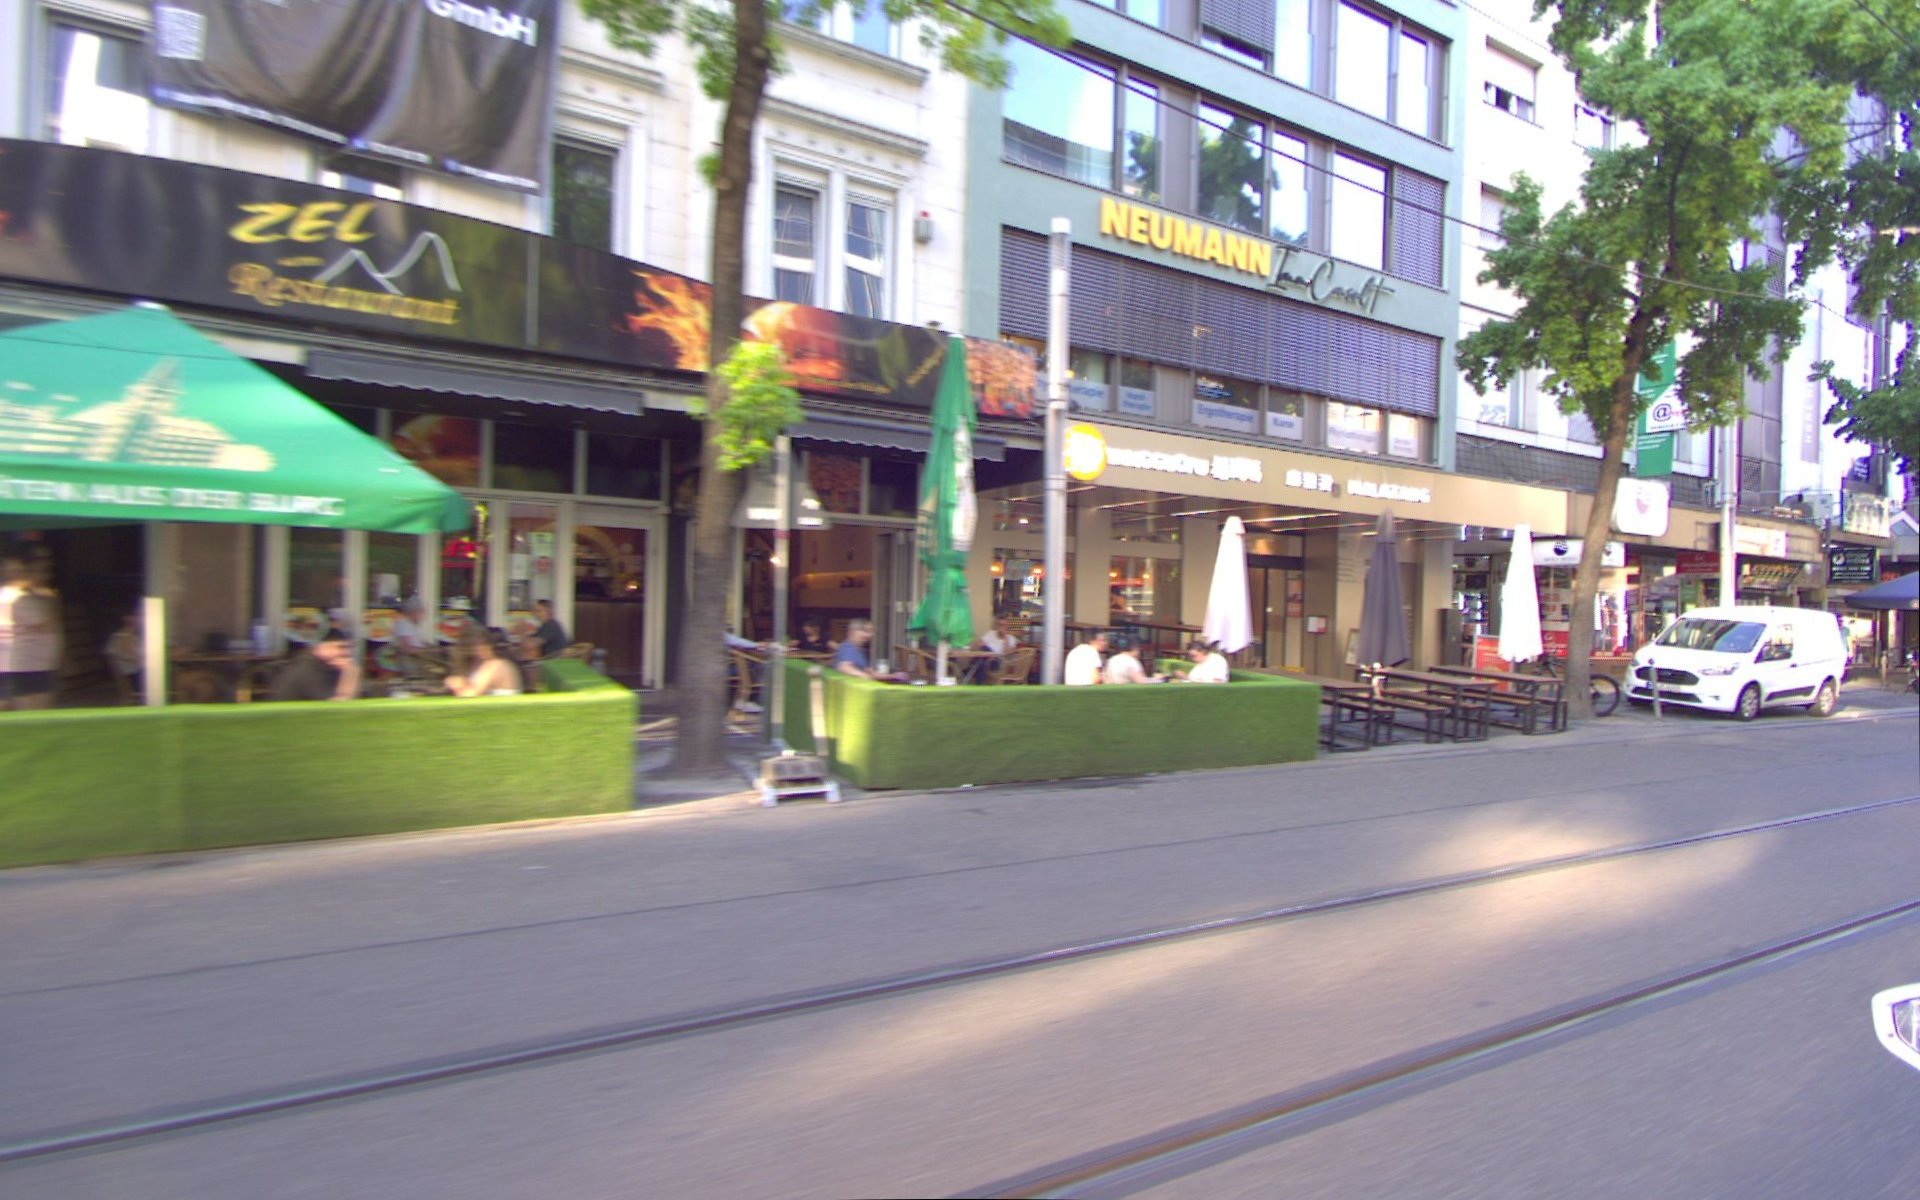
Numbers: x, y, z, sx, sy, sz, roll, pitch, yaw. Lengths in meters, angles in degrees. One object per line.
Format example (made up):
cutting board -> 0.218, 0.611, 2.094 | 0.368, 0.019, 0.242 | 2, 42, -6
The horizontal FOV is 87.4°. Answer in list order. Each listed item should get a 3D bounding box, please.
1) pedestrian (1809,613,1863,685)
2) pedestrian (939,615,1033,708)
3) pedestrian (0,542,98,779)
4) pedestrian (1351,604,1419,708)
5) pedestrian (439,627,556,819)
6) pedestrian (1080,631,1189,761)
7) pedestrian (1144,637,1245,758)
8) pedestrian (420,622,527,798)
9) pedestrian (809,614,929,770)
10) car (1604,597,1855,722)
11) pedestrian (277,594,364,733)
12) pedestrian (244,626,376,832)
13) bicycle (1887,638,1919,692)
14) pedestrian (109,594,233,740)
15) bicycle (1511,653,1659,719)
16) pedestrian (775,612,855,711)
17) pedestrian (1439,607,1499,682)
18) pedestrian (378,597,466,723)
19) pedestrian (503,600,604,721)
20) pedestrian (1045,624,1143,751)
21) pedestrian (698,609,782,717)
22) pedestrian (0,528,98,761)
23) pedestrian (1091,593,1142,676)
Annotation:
pedestrian -> 21.793, 1.206, 24.978 | 0.993, 1.708, 0.663 | 1, 2, -30
pedestrian -> 0.358, 0.856, 14.241 | 1.052, 1.204, 0.749 | 2, 3, -30
pedestrian -> -6.928, 0.424, 7.445 | 0.689, 1.693, 0.616 | 1, 1, -30
pedestrian -> 6.814, 0.882, 16.133 | 0.692, 1.595, 0.644 | 1, 2, -30
pedestrian -> -3.344, 0.851, 7.245 | 0.689, 1.262, 0.616 | 1, 3, -30
pedestrian -> 1.840, 0.986, 10.602 | 0.862, 1.261, 0.653 | 1, 3, -30
pedestrian -> 2.567, 1.043, 11.010 | 0.788, 1.209, 0.653 | 1, 3, -30
pedestrian -> -3.812, 0.830, 7.858 | 0.689, 1.262, 0.616 | 1, 3, -30
pedestrian -> -0.882, 0.852, 9.642 | 0.862, 1.361, 0.750 | 1, 3, -30
car -> 13.553, 0.993, 17.645 | 4.498, 1.890, 1.787 | 2, 2, -29
pedestrian -> -6.498, 0.629, 10.232 | 0.689, 1.327, 0.616 | 1, 3, -30
pedestrian -> -4.364, 0.833, 6.782 | 0.689, 1.262, 0.616 | 1, 3, -30
bicycle -> 22.606, 1.537, 23.926 | 0.690, 1.136, 2.074 | 4, 3, 42
pedestrian -> -7.252, 0.591, 9.270 | 0.789, 1.259, 0.666 | 1, 1, -30
bicycle -> 10.076, 1.372, 16.267 | 1.822, 0.876, 0.837 | 2, 2, 9
pedestrian -> -1.869, 0.777, 12.885 | 0.779, 1.183, 0.696 | 1, 3, -30
pedestrian -> 10.750, 0.930, 21.234 | 0.756, 1.486, 0.765 | 1, 3, -32
pedestrian -> -5.731, 0.619, 10.700 | 0.779, 1.248, 0.733 | 1, 3, -30
pedestrian -> -4.588, 0.664, 11.313 | 0.934, 1.254, 0.773 | 1, 3, -30
pedestrian -> 1.490, 0.955, 11.202 | 0.788, 1.310, 0.653 | 1, 3, -30
pedestrian -> -2.697, 0.751, 12.292 | 0.779, 1.230, 0.733 | 1, 3, -30
pedestrian -> -7.420, 0.331, 7.994 | 0.688, 1.780, 0.675 | 1, 1, -28
pedestrian -> 3.300, 0.720, 21.168 | 0.724, 1.673, 0.695 | 2, 2, -28
